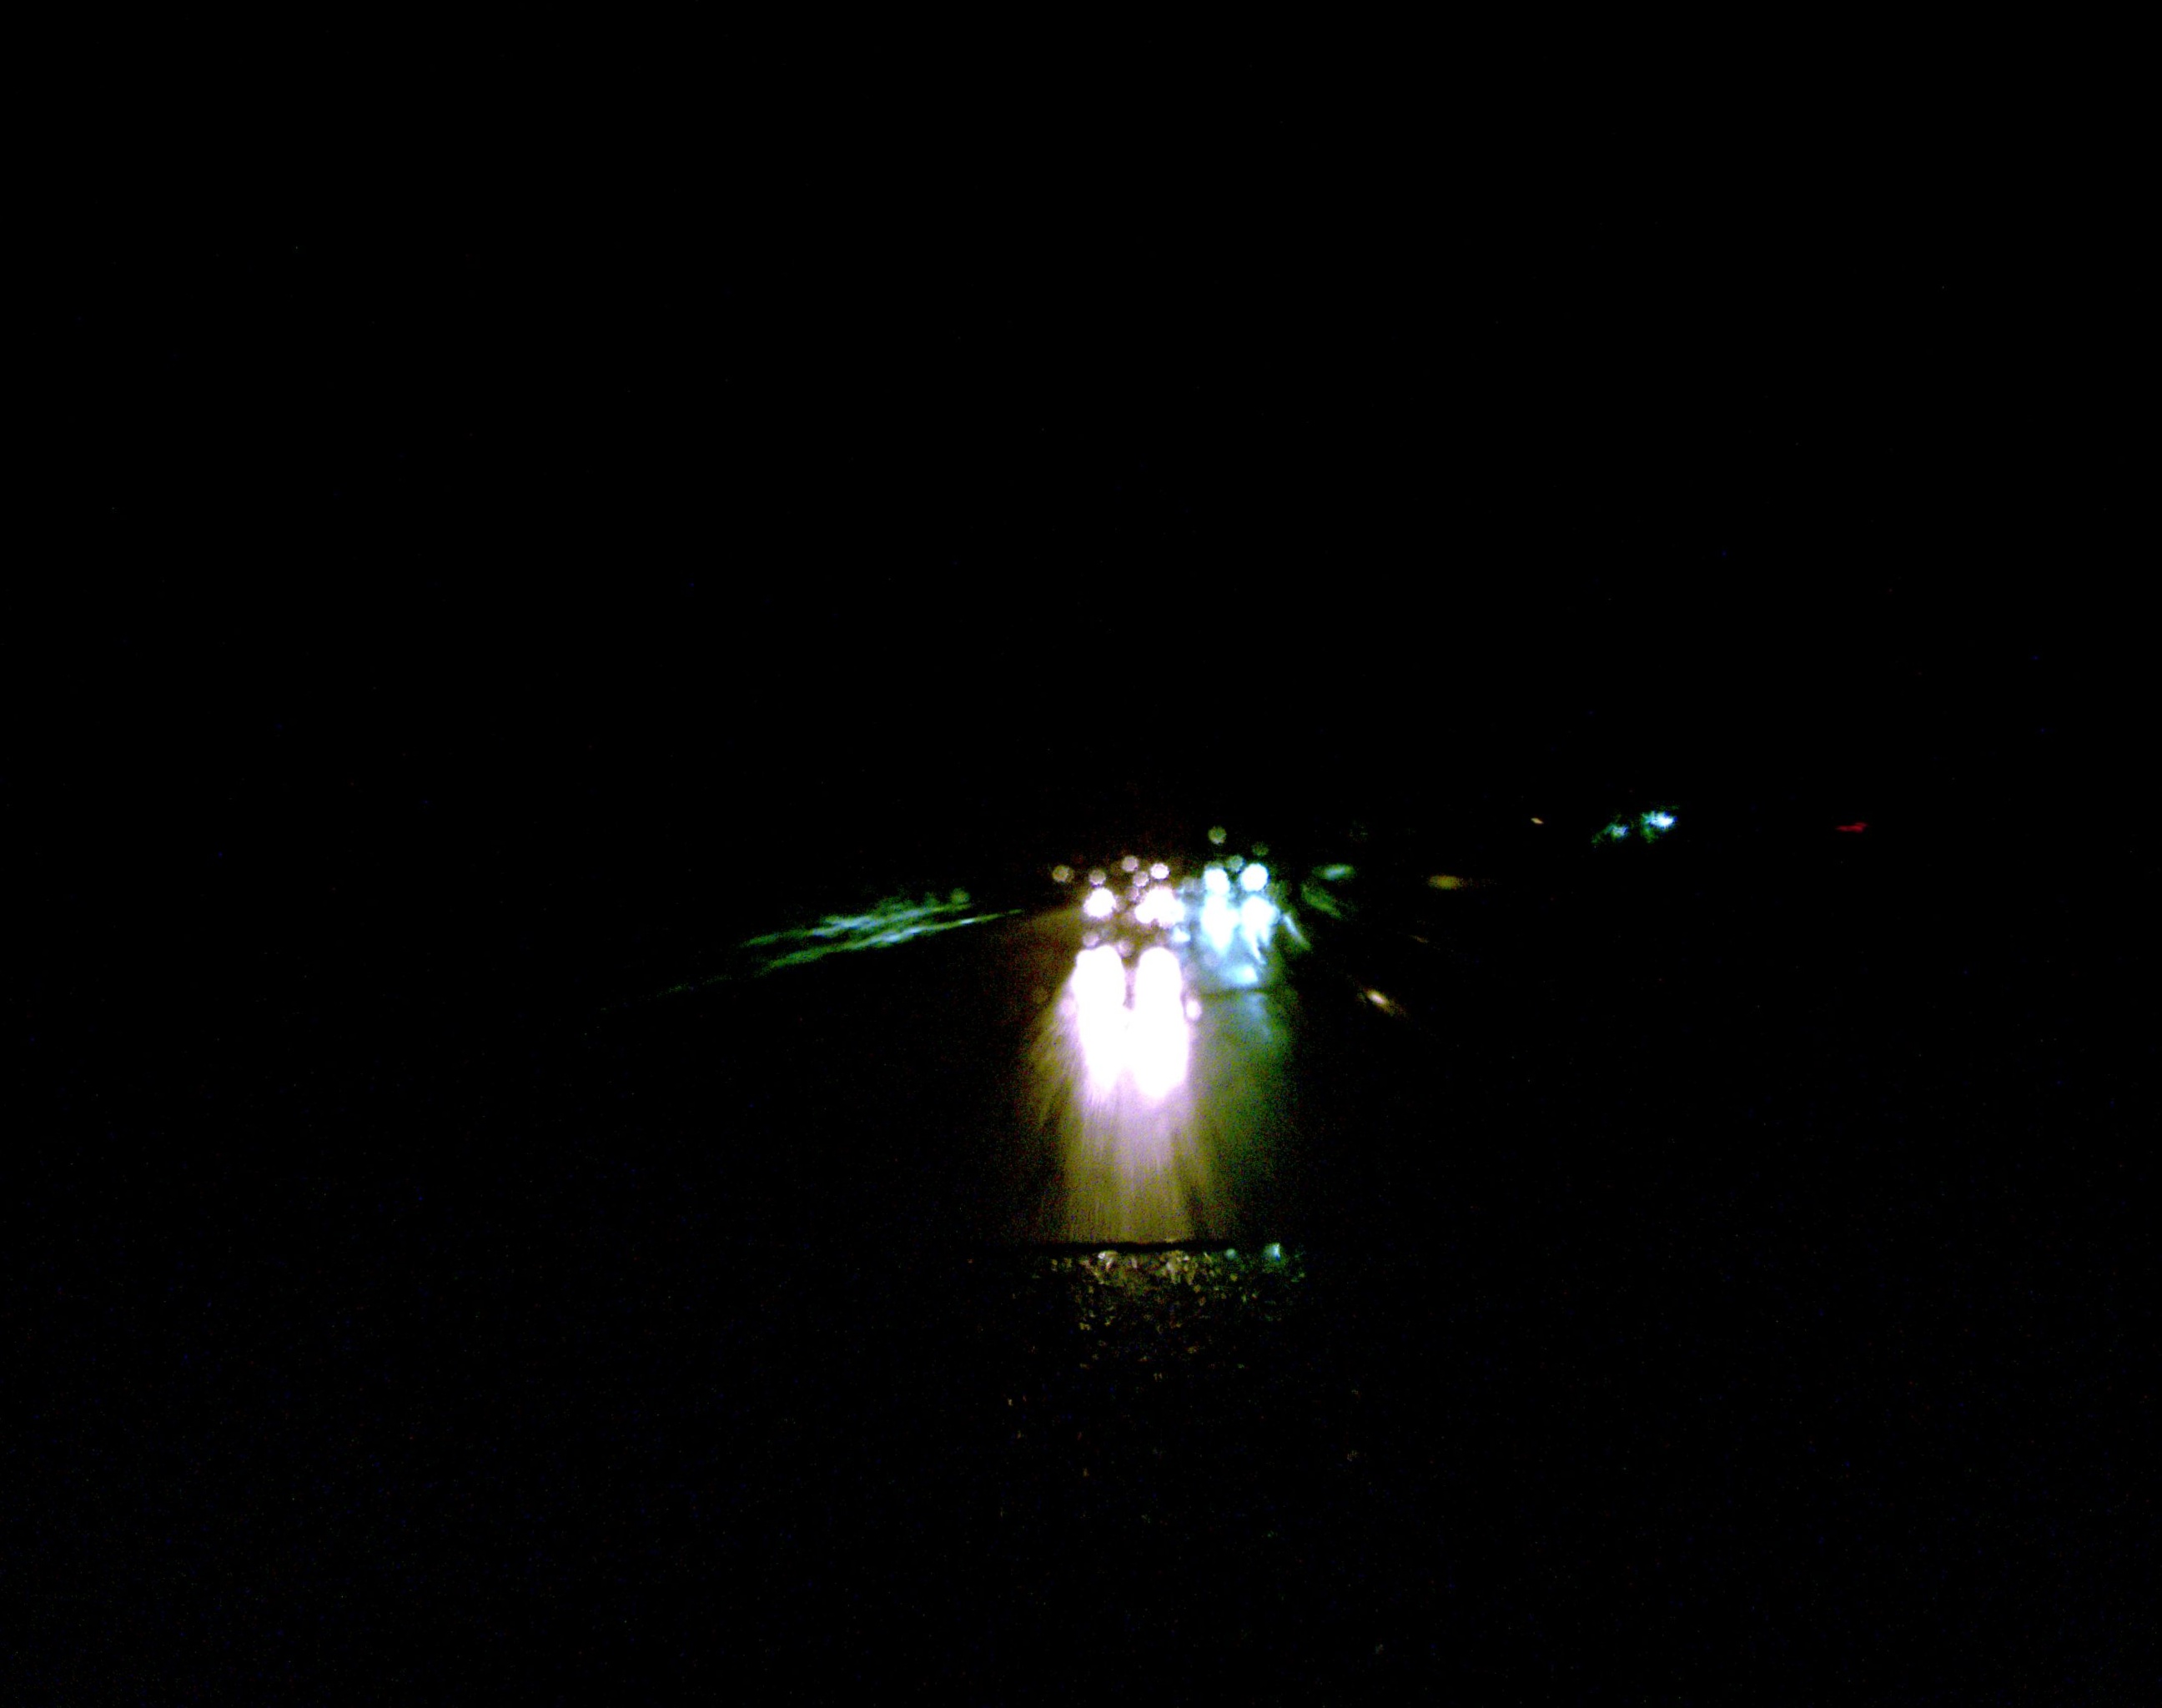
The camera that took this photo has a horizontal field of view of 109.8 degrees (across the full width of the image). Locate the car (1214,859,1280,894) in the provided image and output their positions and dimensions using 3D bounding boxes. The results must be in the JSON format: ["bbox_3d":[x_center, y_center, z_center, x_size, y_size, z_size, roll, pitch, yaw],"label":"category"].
[{"bbox_3d":[6.887,0.898,31.273,1.757,1.304,4.092,-1,0,25],"label":"car"}]

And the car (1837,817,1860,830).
[{"bbox_3d":[89.800,-3.542,88.902,1.501,1.420,3.437,0,3,39],"label":"car"}]

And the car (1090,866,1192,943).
[{"bbox_3d":[1.428,1.010,16.776,1.685,1.442,3.646,0,0,14],"label":"car"}]
